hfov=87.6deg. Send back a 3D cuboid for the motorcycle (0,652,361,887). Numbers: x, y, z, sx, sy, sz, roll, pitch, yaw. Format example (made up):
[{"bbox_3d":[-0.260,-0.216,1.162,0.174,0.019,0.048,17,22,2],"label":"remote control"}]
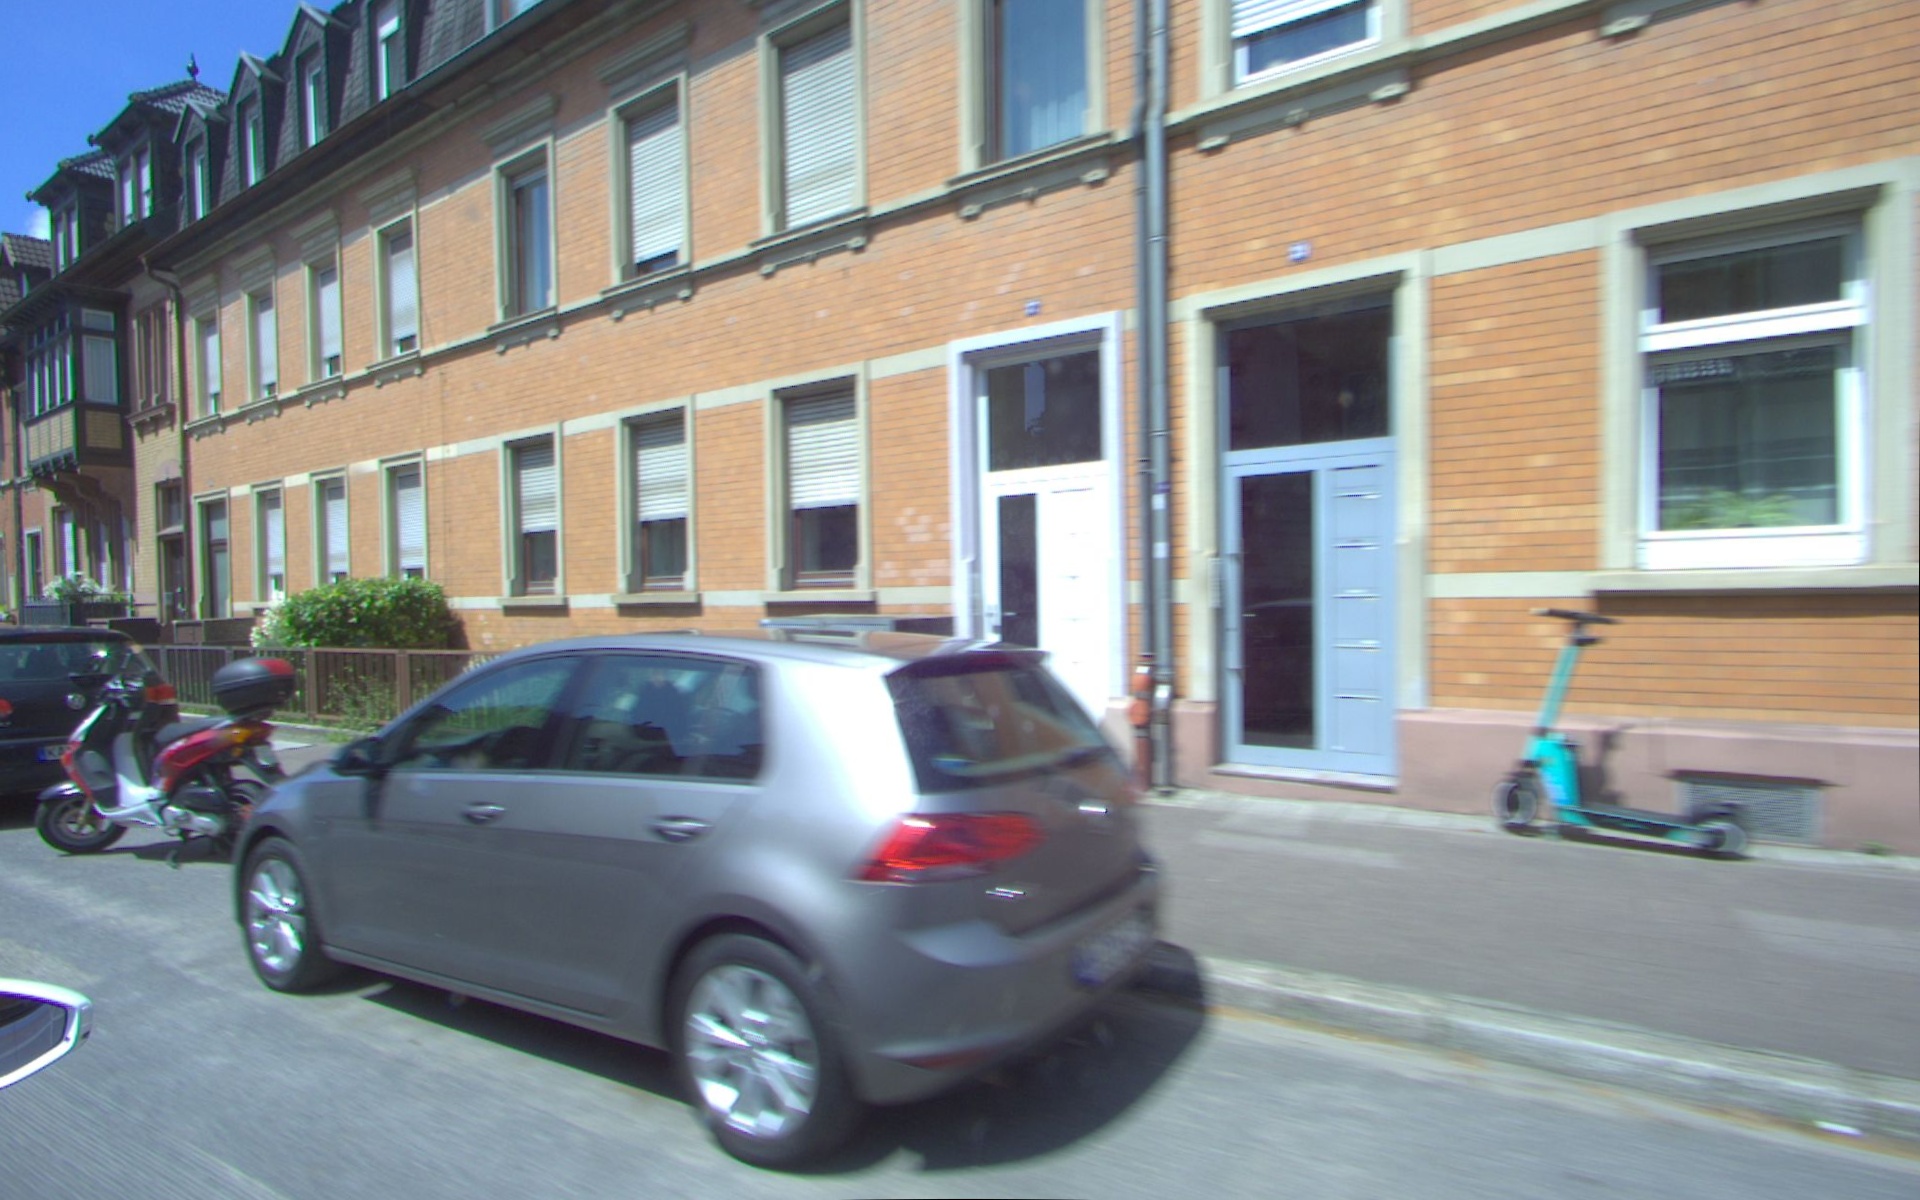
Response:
[{"bbox_3d":[-5.028,0.987,6.279,1.961,1.241,1.110,0,0,-18],"label":"motorcycle"}]

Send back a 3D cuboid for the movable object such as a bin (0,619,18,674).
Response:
[{"bbox_3d":[-19.998,0.963,20.569,0.546,1.103,0.786,0,2,31],"label":"movable object such as a bin"}]

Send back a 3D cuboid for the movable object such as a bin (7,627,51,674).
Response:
[{"bbox_3d":[-22.632,1.220,24.349,0.751,1.091,0.607,0,2,35],"label":"movable object such as a bin"}]

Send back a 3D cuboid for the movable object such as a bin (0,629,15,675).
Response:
[{"bbox_3d":[-23.006,1.238,23.786,0.738,1.069,0.656,0,2,35],"label":"movable object such as a bin"}]

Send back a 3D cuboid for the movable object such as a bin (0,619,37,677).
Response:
[{"bbox_3d":[-19.016,0.958,19.925,0.531,1.103,0.786,0,2,31],"label":"movable object such as a bin"}]

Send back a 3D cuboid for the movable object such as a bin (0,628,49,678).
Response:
[{"bbox_3d":[-18.487,1.033,19.619,0.531,0.919,0.786,0,2,31],"label":"movable object such as a bin"}]

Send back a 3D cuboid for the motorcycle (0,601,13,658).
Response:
[{"bbox_3d":[-24.967,0.805,24.688,0.924,1.428,2.122,0,3,33],"label":"motorcycle"}]

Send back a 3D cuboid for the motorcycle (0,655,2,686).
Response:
[{"bbox_3d":[-18.285,0.967,18.552,1.339,1.255,0.438,0,3,34],"label":"motorcycle"}]

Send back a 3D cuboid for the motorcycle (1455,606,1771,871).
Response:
[{"bbox_3d":[3.428,0.667,5.349,1.342,1.241,0.594,-1,2,33],"label":"motorcycle"}]

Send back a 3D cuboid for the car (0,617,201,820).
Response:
[{"bbox_3d":[-8.667,0.902,8.652,4.432,1.433,1.646,-1,1,28],"label":"car"}]

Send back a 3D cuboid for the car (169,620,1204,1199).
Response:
[{"bbox_3d":[-1.284,0.817,4.068,4.106,1.399,1.697,-1,0,31],"label":"car"}]
